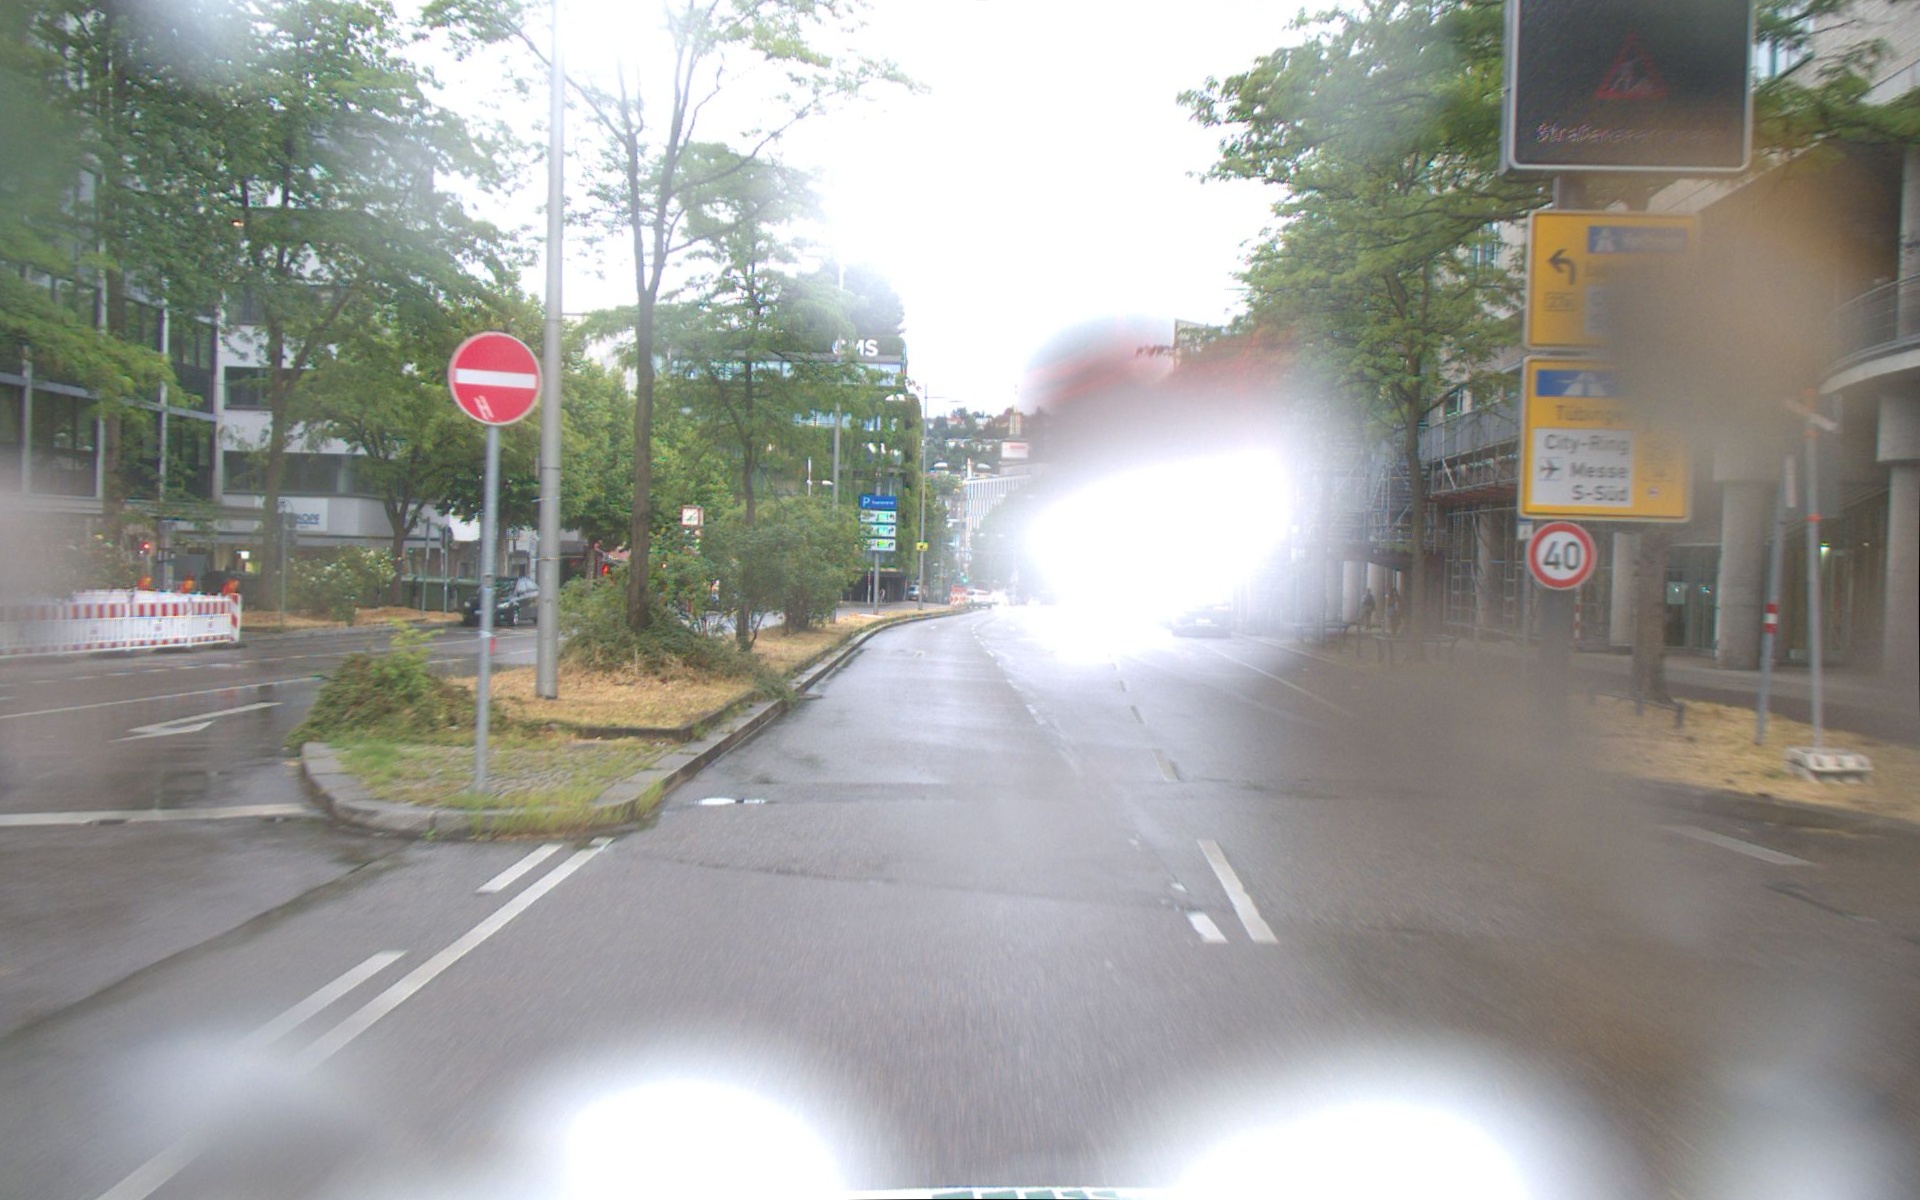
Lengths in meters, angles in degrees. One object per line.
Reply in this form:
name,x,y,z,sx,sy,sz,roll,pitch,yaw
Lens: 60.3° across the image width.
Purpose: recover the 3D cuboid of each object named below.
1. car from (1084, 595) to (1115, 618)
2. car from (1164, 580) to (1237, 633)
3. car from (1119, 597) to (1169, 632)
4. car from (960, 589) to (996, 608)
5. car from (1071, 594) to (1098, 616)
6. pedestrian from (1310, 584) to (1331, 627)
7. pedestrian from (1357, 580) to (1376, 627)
car,10.814,0.535,128.541,1.953,1.754,3.998,0,-1,-2
car,8.145,0.221,56.296,2.288,1.721,4.003,0,0,6
car,8.291,0.629,74.849,1.807,1.518,4.000,0,0,0
car,1.643,-0.112,152.155,1.804,1.668,4.270,2,-1,-23
car,10.526,0.421,139.717,1.953,1.766,3.999,0,-1,-1
pedestrian,16.234,0.256,74.472,0.759,1.954,0.702,0,-1,-2
pedestrian,17.140,0.154,69.746,0.759,1.954,0.703,0,-1,9
